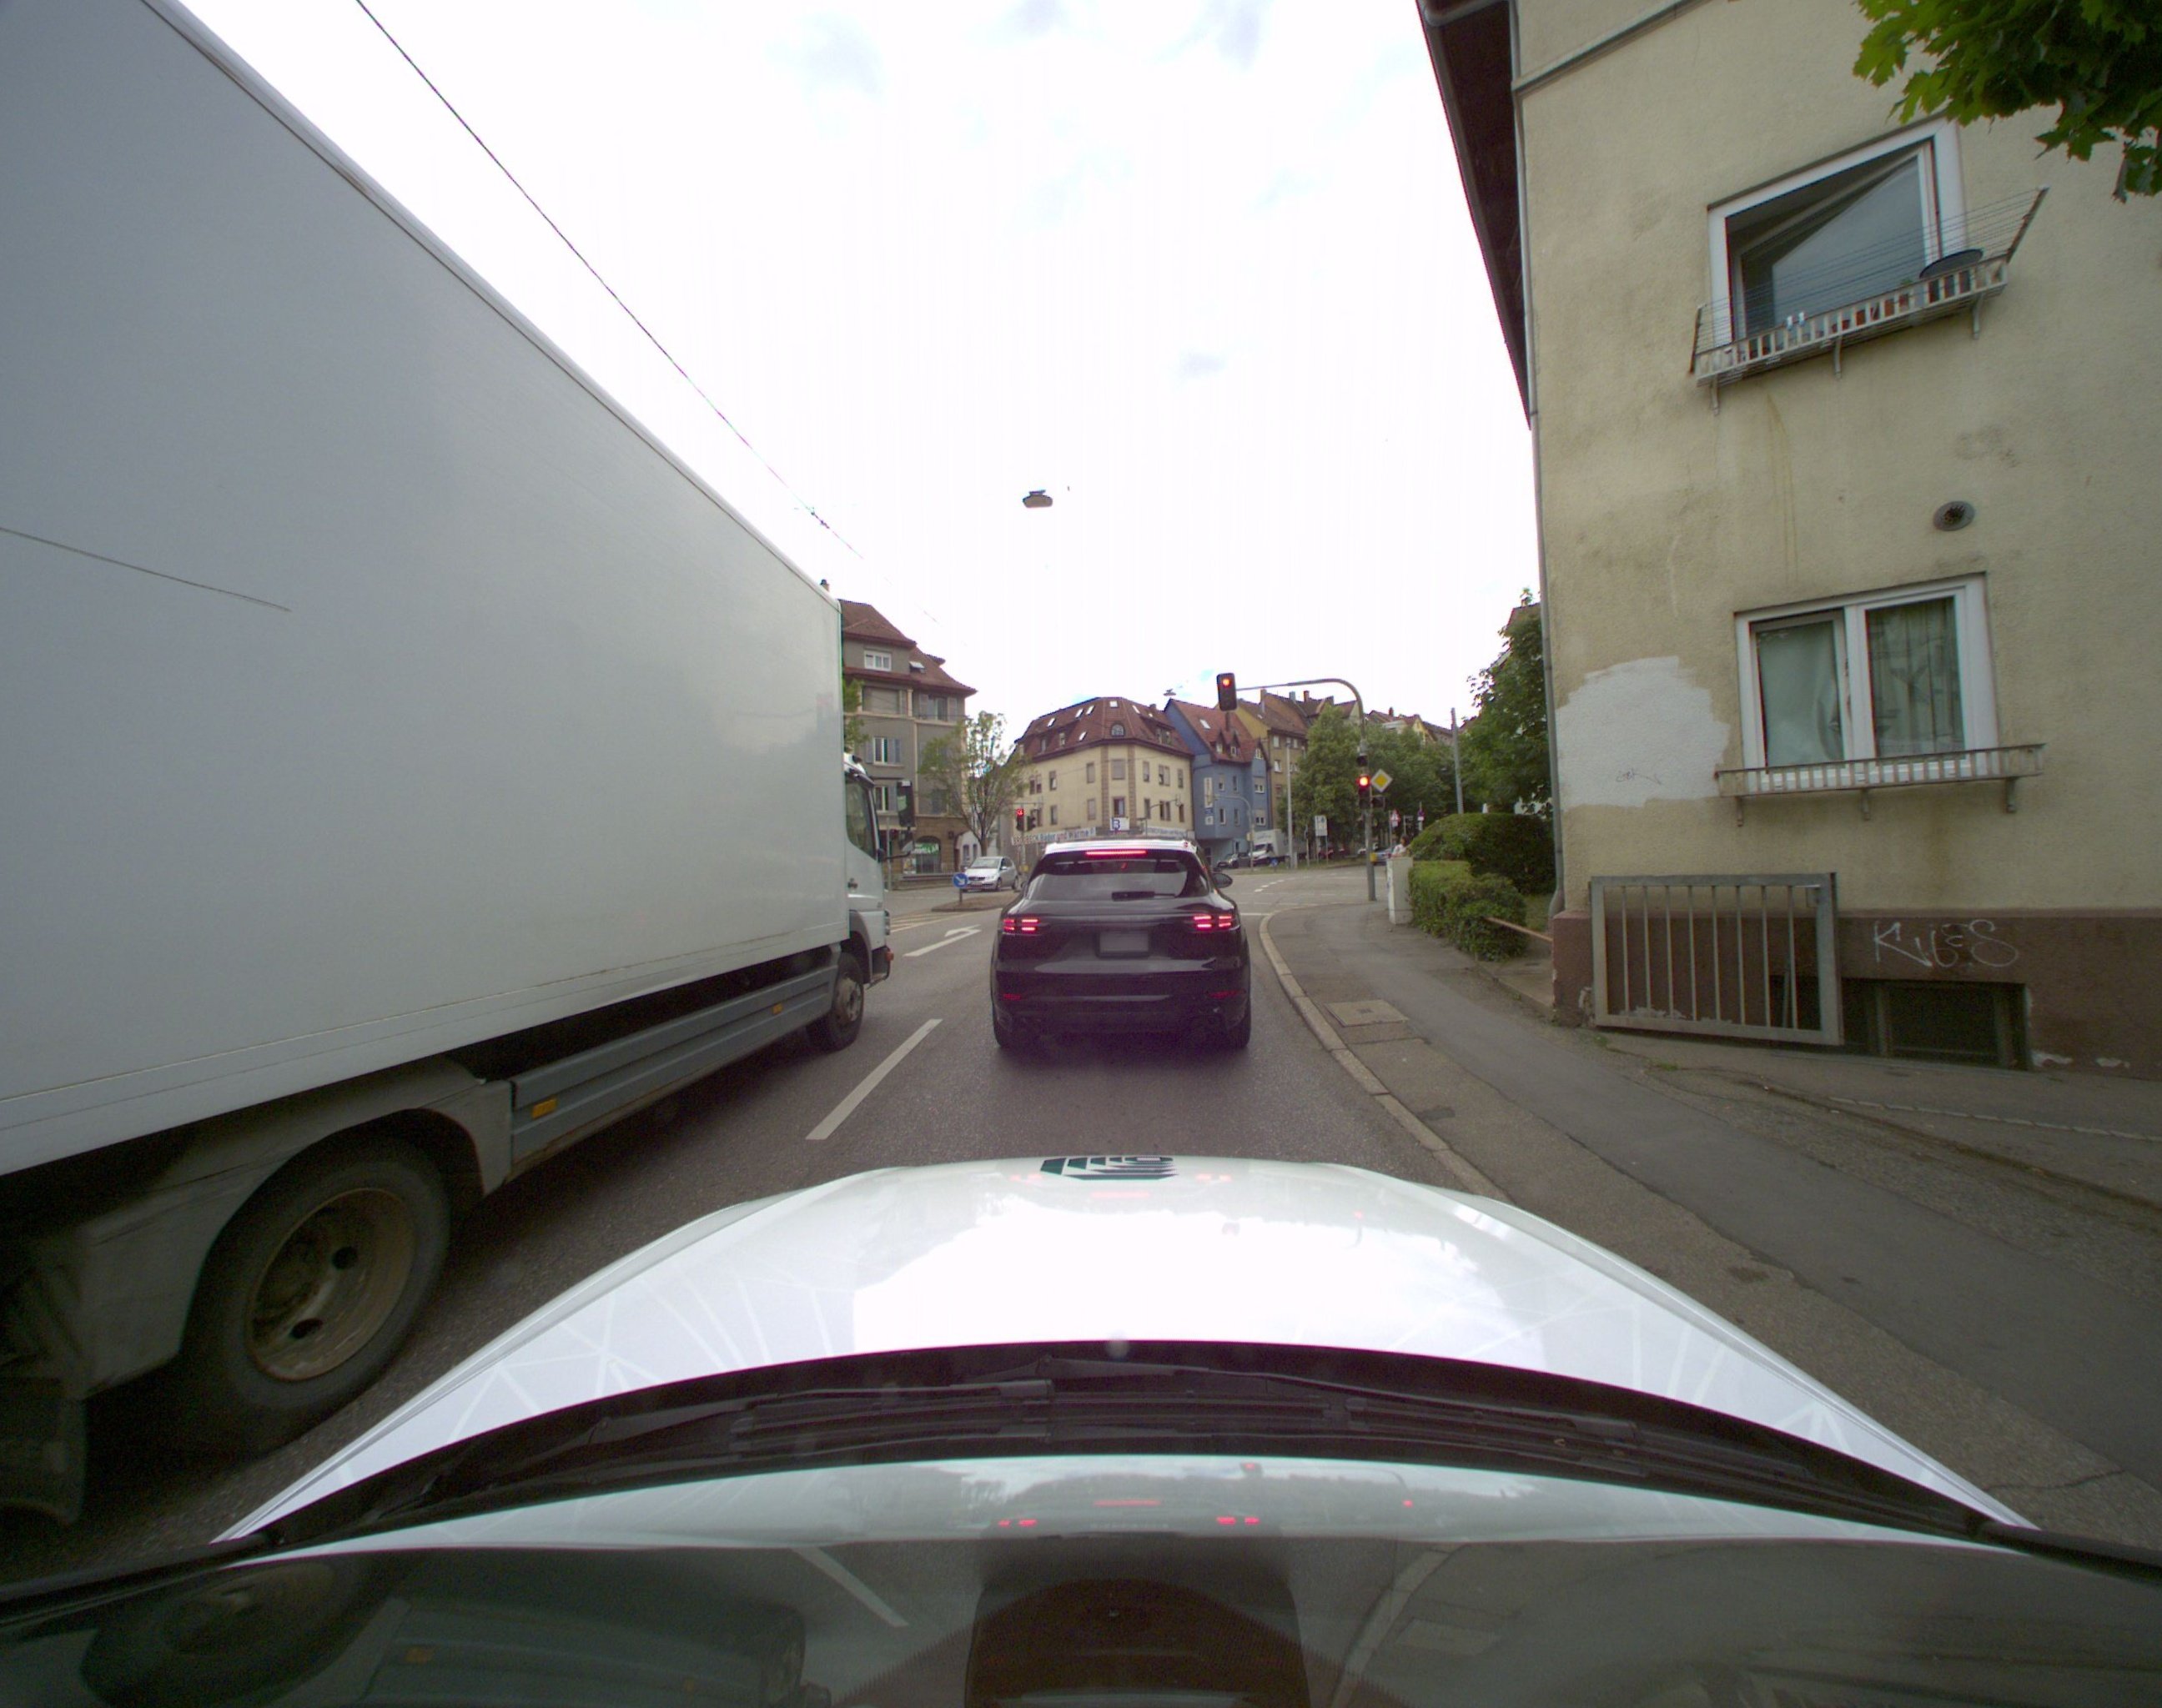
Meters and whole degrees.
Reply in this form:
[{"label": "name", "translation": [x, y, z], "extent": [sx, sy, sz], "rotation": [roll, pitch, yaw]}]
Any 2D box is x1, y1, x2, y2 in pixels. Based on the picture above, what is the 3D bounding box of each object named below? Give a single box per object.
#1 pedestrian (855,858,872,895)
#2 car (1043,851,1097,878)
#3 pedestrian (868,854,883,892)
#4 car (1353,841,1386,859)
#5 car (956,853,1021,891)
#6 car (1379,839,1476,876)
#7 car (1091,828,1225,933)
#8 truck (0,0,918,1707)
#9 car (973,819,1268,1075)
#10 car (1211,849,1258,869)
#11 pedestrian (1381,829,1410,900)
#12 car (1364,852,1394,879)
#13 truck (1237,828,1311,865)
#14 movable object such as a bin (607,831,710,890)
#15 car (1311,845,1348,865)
[{"label": "pedestrian", "translation": [-9.435, 0.964, 35.337], "extent": [0.587, 1.567, 0.486], "rotation": [1, -1, 1]}, {"label": "car", "translation": [-0.879, 0.804, 62.927], "extent": [2.011, 2.014, 3.952], "rotation": [1, -1, -42]}, {"label": "pedestrian", "translation": [-9.517, 0.886, 37.758], "extent": [0.511, 1.730, 0.451], "rotation": [1, -1, 4]}, {"label": "car", "translation": [32.712, -0.439, 92.198], "extent": [1.975, 2.014, 4.023], "rotation": [0, -1, 45]}, {"label": "car", "translation": [-4.147, 0.822, 37.204], "extent": [1.877, 1.579, 3.980], "rotation": [-2, -1, 10]}, {"label": "car", "translation": [16.492, 0.173, 38.960], "extent": [1.723, 1.662, 3.957], "rotation": [1, -1, -35]}, {"label": "car", "translation": [1.579, 0.443, 15.161], "extent": [1.980, 1.684, 4.014], "rotation": [-1, 0, 12]}, {"label": "truck", "translation": [-3.166, -0.261, 3.909], "extent": [2.758, 3.575, 8.069], "rotation": [-1, 0, 2]}, {"label": "car", "translation": [0.245, 0.608, 7.518], "extent": [1.973, 1.684, 3.998], "rotation": [-1, 0, -1]}, {"label": "car", "translation": [13.513, 0.437, 71.651], "extent": [4.021, 1.684, 1.976], "rotation": [-1, -1, -41]}, {"label": "pedestrian", "translation": [8.227, 0.265, 21.294], "extent": [0.525, 1.819, 0.591], "rotation": [1, -1, 1]}, {"label": "car", "translation": [22.873, 0.892, 62.643], "extent": [1.978, 2.014, 4.017], "rotation": [0, -1, 17]}, {"label": "truck", "translation": [18.652, -0.645, 78.273], "extent": [2.846, 3.340, 8.846], "rotation": [0, 0, 43]}, {"label": "movable object such as a bin", "translation": [-13.555, 0.214, 26.405], "extent": [1.903, 1.771, 3.984], "rotation": [1, 0, -11]}, {"label": "car", "translation": [26.164, 0.135, 85.698], "extent": [1.975, 2.014, 4.023], "rotation": [0, -1, 45]}]
